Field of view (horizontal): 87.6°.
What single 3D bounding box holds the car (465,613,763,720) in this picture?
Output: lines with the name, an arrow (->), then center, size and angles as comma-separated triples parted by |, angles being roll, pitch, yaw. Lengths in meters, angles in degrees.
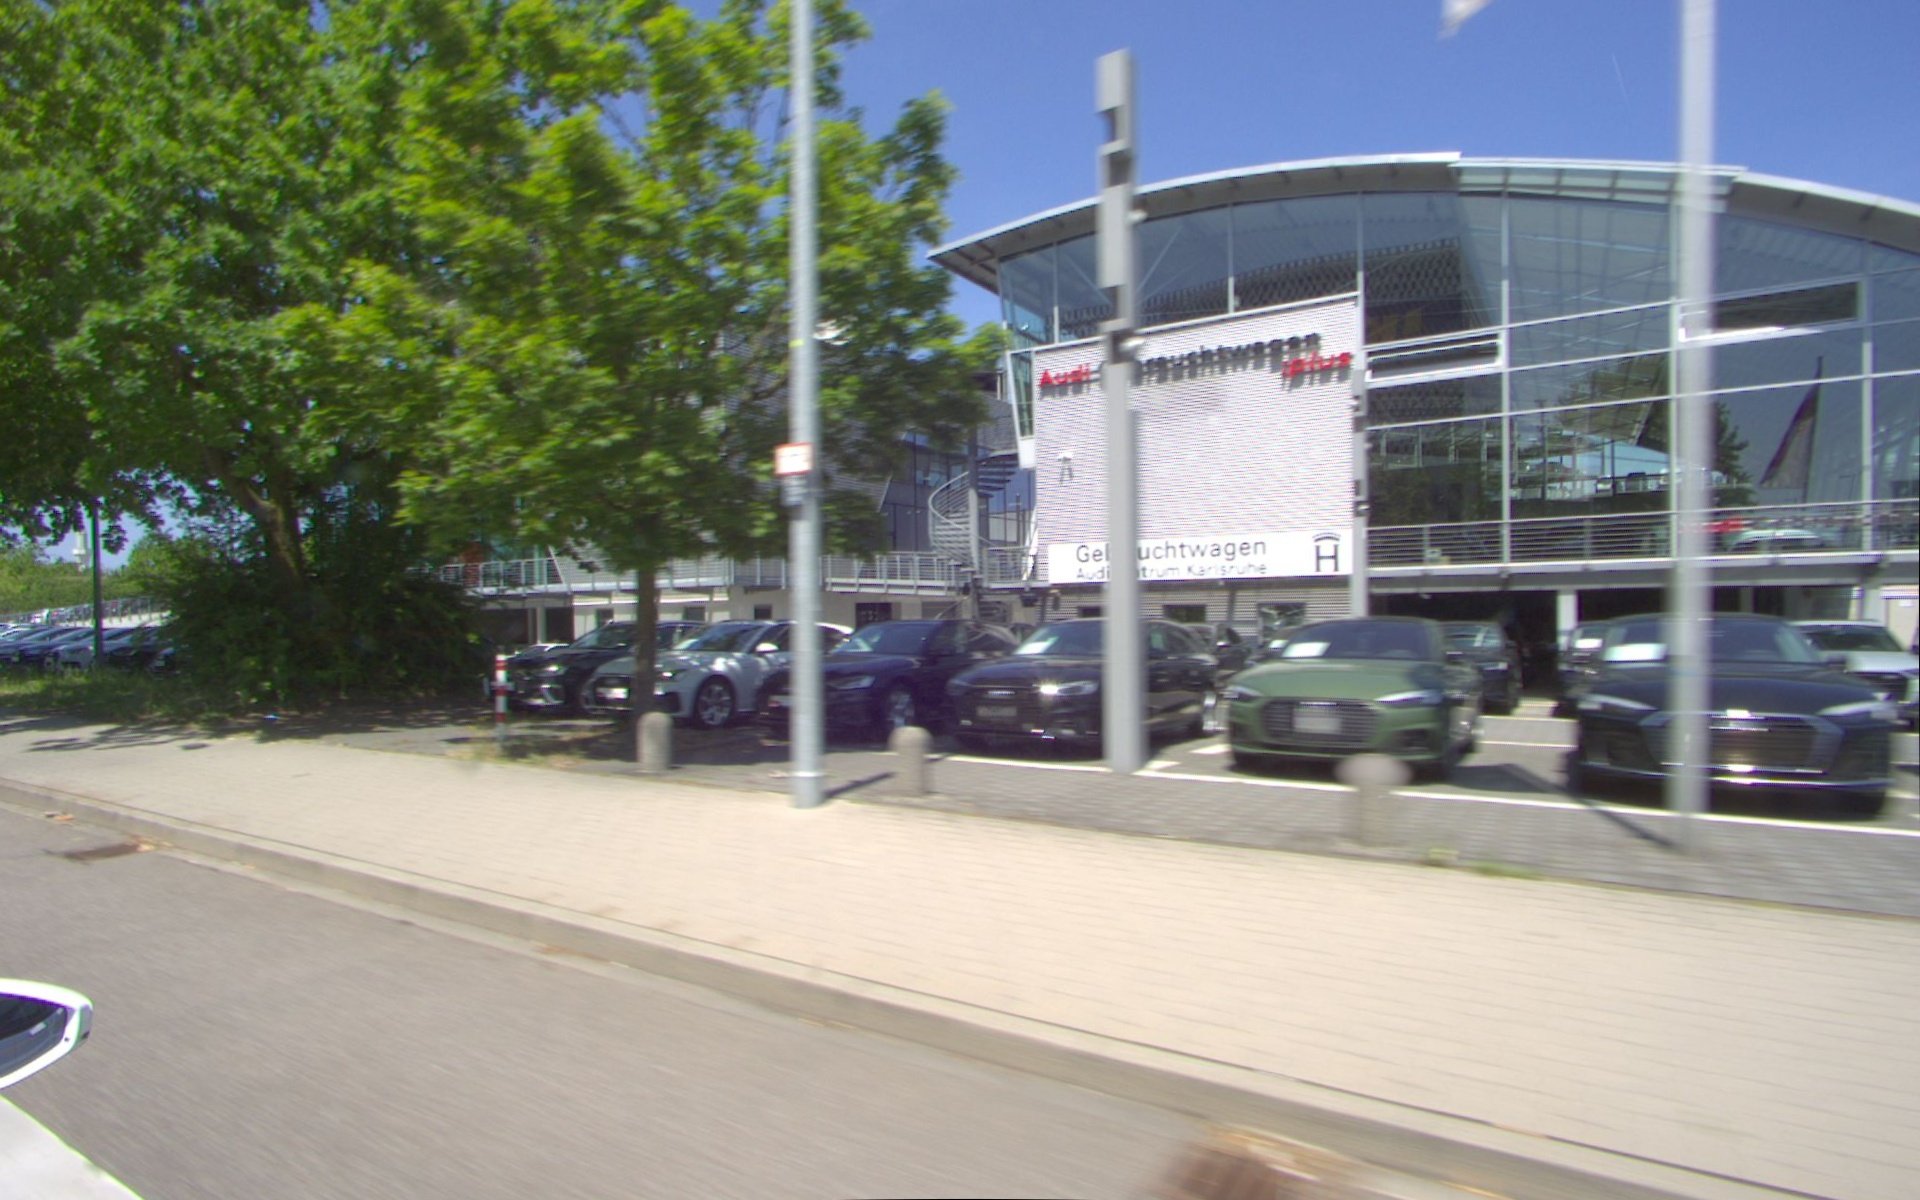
car -> -5.196, 0.978, 15.612 | 1.790, 1.419, 4.226 | 0, -3, 32

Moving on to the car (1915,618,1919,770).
car -> 8.359, 0.747, 6.819 | 1.842, 1.365, 4.094 | -1, -3, 32

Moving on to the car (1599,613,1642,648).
car -> 31.408, 1.482, 47.693 | 1.589, 1.629, 3.507 | -1, -3, 32

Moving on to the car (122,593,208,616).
car -> -51.400, 0.290, 64.843 | 1.769, 1.328, 3.986 | -1, -2, 27

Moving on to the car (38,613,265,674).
car -> -21.120, 1.194, 26.338 | 1.890, 1.424, 4.217 | -1, -4, 32

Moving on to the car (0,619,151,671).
car -> -27.502, 1.387, 30.449 | 1.753, 1.397, 4.128 | -1, -6, 32

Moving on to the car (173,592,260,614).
car -> -45.016, 0.195, 60.725 | 1.691, 1.226, 3.937 | -1, -1, 27

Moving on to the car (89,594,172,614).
car -> -56.083, 0.264, 67.775 | 1.769, 1.329, 3.984 | -1, 0, 27

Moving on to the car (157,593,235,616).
car -> -47.339, 0.297, 62.108 | 1.650, 1.255, 3.523 | -1, -2, 27

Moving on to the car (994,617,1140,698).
car -> 2.566, 1.301, 23.093 | 1.824, 1.675, 3.980 | -1, -3, 32

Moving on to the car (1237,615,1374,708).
car -> 7.111, 1.218, 20.381 | 1.824, 1.675, 3.980 | -1, -3, 32

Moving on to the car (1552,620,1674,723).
car -> 11.317, 1.195, 17.486 | 1.618, 1.600, 3.642 | -1, -3, 32

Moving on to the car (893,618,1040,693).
car -> 0.250, 1.339, 24.593 | 1.824, 1.675, 3.980 | -1, -3, 32

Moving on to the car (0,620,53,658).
car -> -35.929, 1.384, 36.230 | 1.890, 1.358, 4.217 | -1, -4, 32

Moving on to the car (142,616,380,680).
car -> -16.436, 1.178, 23.759 | 1.852, 1.372, 4.217 | -1, -4, 32

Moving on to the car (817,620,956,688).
car -> -1.819, 1.380, 25.887 | 1.617, 1.603, 3.893 | -1, -3, 32

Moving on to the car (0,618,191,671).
car -> -25.235, 1.332, 29.053 | 1.960, 1.386, 4.217 | -1, -4, 32

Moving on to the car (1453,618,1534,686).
car -> 13.771, 1.322, 25.772 | 1.618, 1.629, 3.642 | -1, -3, 32

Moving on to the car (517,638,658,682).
car -> -12.512, 2.055, 33.892 | 1.890, 1.378, 4.217 | -1, -4, 32

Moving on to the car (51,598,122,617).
car -> -62.392, 0.557, 71.551 | 1.518, 1.255, 3.520 | -1, -2, 30

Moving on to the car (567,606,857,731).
car -> -3.256, 0.897, 13.797 | 1.807, 1.471, 3.677 | -1, -3, 32

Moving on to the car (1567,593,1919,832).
car -> 6.050, 0.764, 8.168 | 1.842, 1.408, 4.220 | -1, -3, 32

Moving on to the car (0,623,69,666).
car -> -34.051, 1.530, 34.804 | 1.890, 1.470, 4.217 | -1, -4, 32

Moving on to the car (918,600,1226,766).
car -> 1.435, 0.834, 11.127 | 1.842, 1.471, 4.095 | -1, -3, 32

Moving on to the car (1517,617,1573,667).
car -> 20.384, 1.463, 34.837 | 1.618, 1.629, 3.642 | -1, -2, 32

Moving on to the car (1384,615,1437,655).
car -> 19.367, 1.531, 42.959 | 1.618, 1.629, 3.642 | -1, -3, 32

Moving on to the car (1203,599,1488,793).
car -> 3.875, 0.807, 9.608 | 1.842, 1.422, 4.095 | -1, -3, 32

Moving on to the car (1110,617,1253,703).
car -> 4.881, 1.265, 21.663 | 1.824, 1.675, 3.980 | -1, -3, 32

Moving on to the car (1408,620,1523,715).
car -> 9.627, 1.230, 18.912 | 1.610, 1.593, 3.977 | -1, -3, 32

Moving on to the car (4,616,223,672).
car -> -23.229, 1.261, 27.656 | 1.890, 1.424, 4.217 | -1, -4, 32

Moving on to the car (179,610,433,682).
car -> -14.287, 1.063, 22.144 | 1.799, 1.424, 4.321 | -1, -4, 32

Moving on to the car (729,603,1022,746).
car -> -0.887, 0.863, 12.409 | 1.807, 1.471, 3.677 | -1, -3, 32

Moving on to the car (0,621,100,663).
car -> -31.761, 1.394, 33.423 | 1.890, 1.358, 4.217 | -1, -4, 32

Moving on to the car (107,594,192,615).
car -> -53.593, 0.312, 66.272 | 1.769, 1.329, 3.984 | -1, 0, 27

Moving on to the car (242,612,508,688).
car -> -12.024, 1.093, 20.907 | 1.807, 1.409, 4.445 | -1, -4, 32

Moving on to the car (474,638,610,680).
car -> -14.628, 2.093, 35.279 | 1.708, 1.381, 4.217 | -1, -4, 32

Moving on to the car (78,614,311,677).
car -> -19.007, 1.196, 25.065 | 1.890, 1.424, 4.217 | -1, -4, 32

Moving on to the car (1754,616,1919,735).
car -> 13.935, 1.138, 15.877 | 1.633, 1.642, 3.980 | -1, -3, 32
